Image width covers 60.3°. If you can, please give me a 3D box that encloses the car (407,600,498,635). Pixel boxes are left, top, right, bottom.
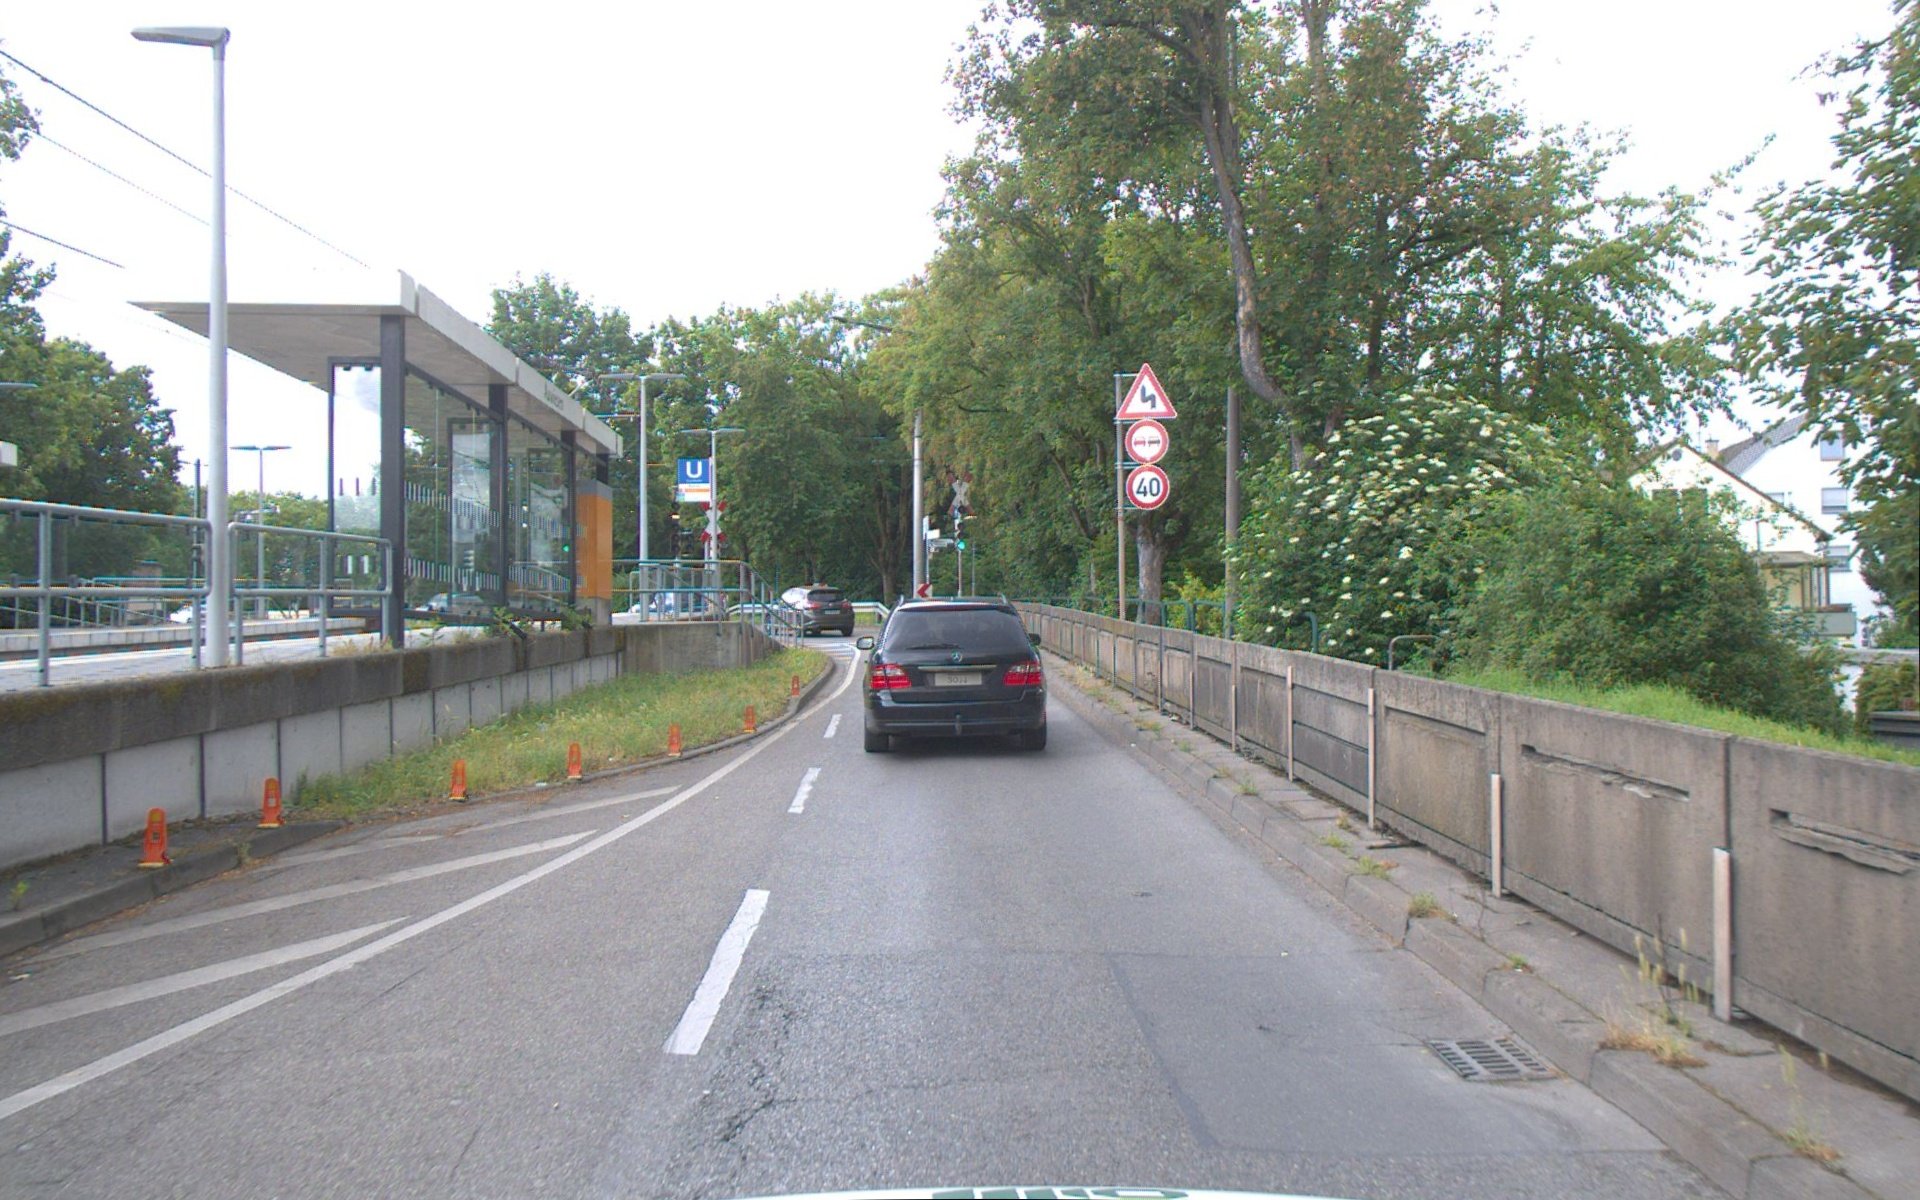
[{"bbox_3d":[-21.380,0.716,69.656,3.929,1.423,1.988,0,1,42],"label":"car"}]

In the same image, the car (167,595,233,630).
[{"bbox_3d":[-39.479,0.671,85.897,3.321,1.736,1.609,0,-2,34],"label":"car"}]

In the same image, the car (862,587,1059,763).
[{"bbox_3d":[-0.037,0.662,16.824,1.745,1.552,3.999,-1,0,-1],"label":"car"}]

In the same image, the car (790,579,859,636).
[{"bbox_3d":[-4.265,0.222,51.534,1.750,1.677,3.989,0,0,-11],"label":"car"}]

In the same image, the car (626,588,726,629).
[{"bbox_3d":[-10.480,0.287,60.871,1.980,1.423,3.944,-1,0,-39],"label":"car"}]
